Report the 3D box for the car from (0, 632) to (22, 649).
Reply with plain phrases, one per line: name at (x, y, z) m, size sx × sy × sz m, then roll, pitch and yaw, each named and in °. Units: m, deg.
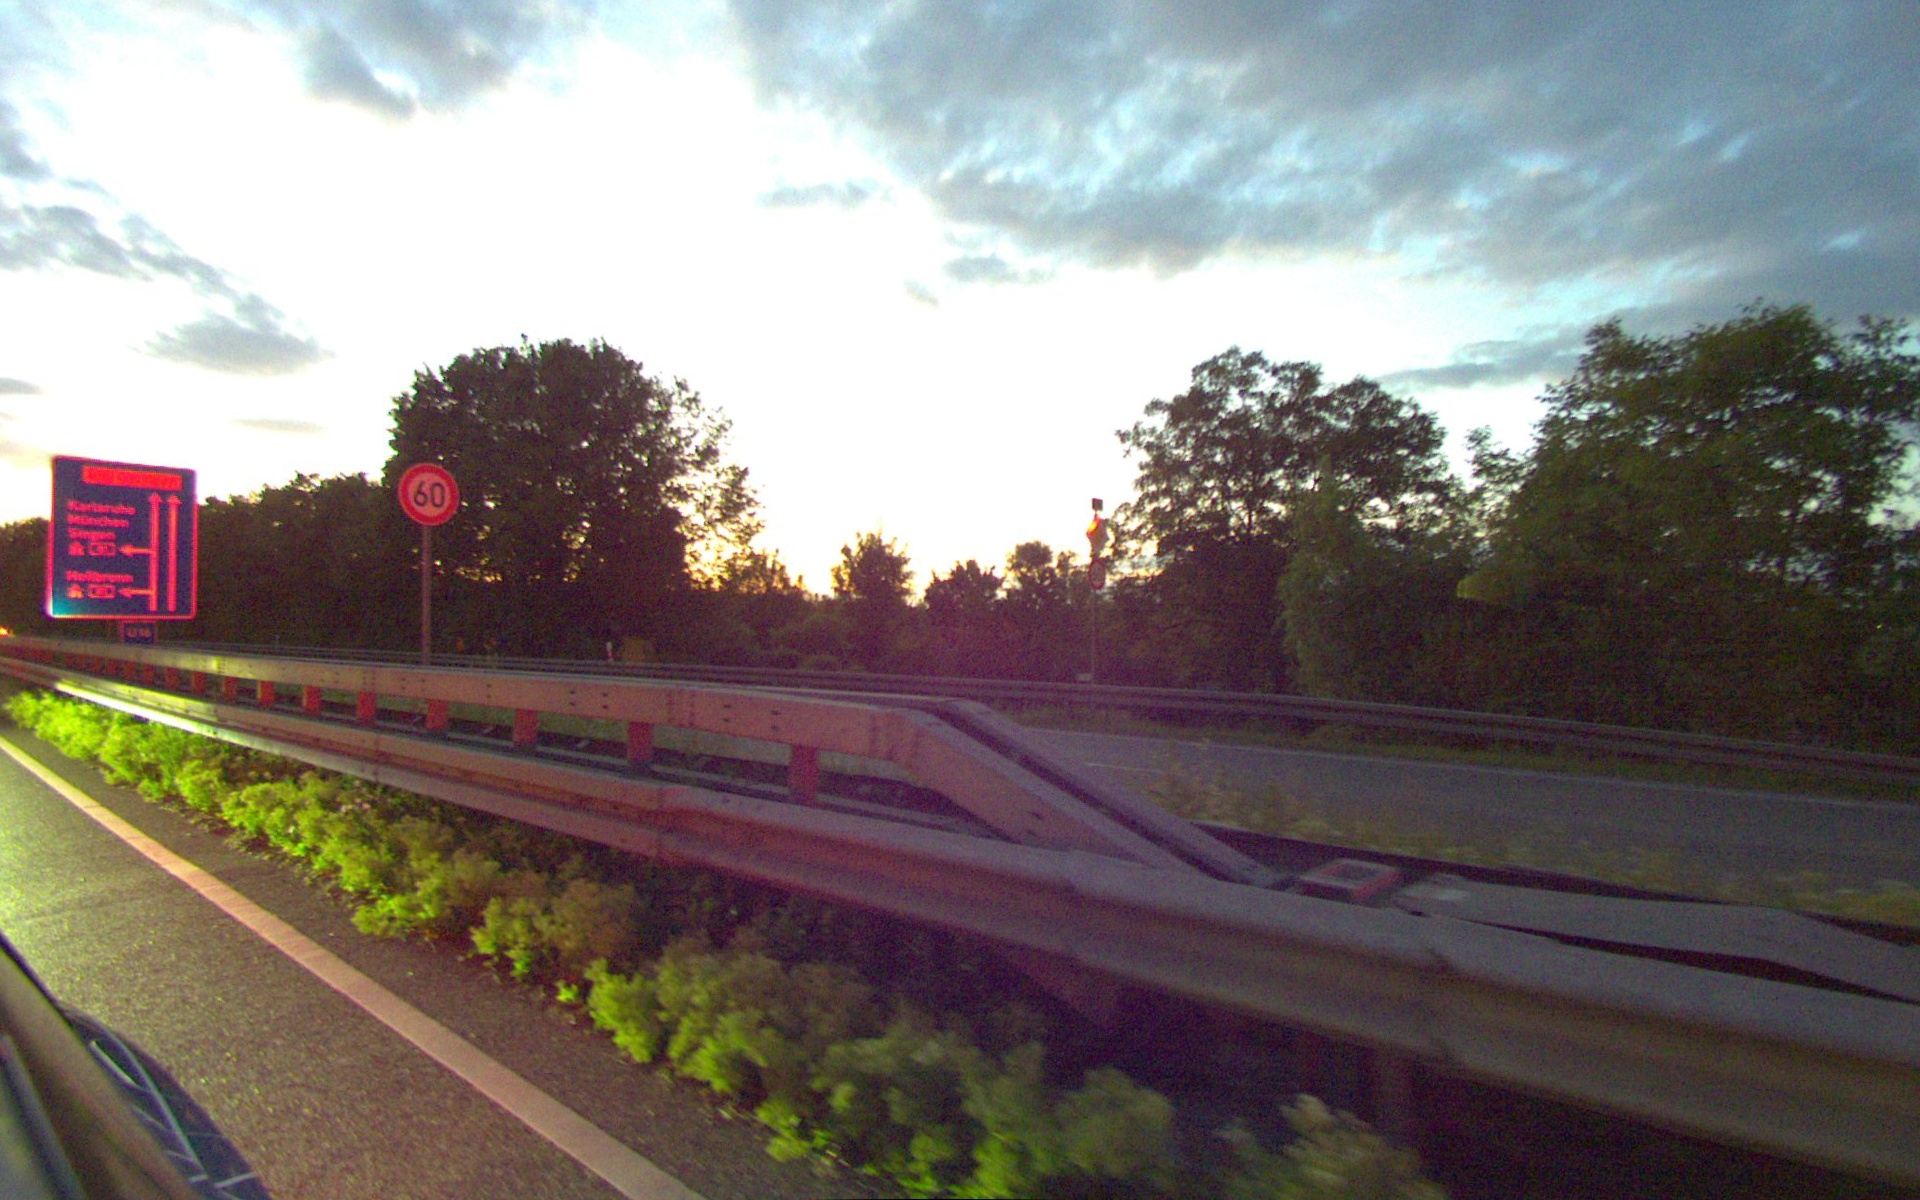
car at (-100.687, 4.297, 107.032) m, size 1.771 × 1.684 × 4.510 m, roll 1°, pitch -1°, yaw -39°
